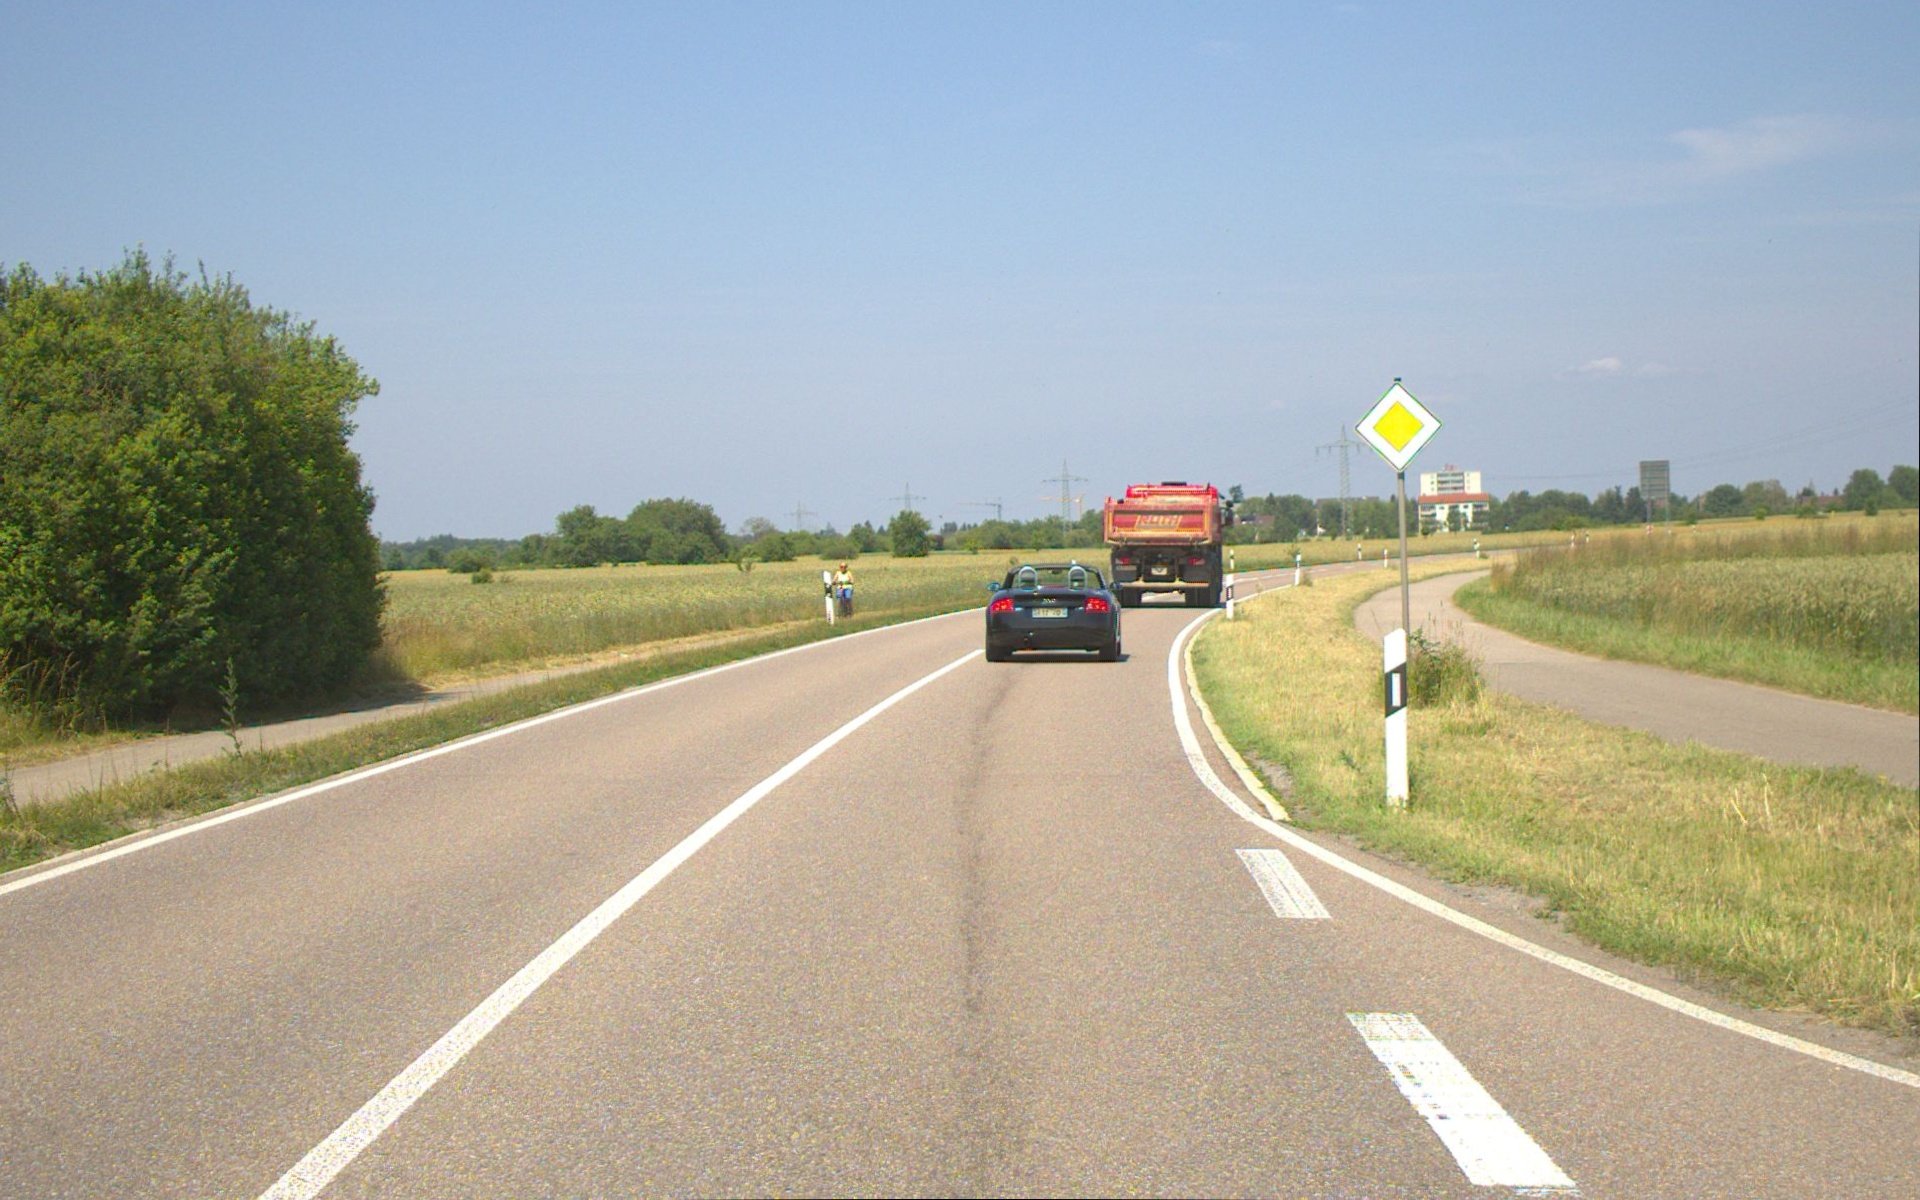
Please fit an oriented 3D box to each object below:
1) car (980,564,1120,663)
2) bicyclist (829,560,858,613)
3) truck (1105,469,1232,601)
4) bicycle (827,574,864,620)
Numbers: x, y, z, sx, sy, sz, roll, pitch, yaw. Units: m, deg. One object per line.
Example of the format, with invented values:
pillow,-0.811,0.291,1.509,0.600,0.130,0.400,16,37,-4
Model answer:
car,1.262,0.158,46.656,1.744,1.275,4.000,0,1,4
bicyclist,-3.179,-0.362,93.536,0.664,1.433,0.823,-1,1,6
truck,5.161,-1.569,84.590,2.938,3.078,7.195,-1,0,4
bicycle,-3.115,-0.097,93.626,0.694,1.172,1.963,-2,1,6
